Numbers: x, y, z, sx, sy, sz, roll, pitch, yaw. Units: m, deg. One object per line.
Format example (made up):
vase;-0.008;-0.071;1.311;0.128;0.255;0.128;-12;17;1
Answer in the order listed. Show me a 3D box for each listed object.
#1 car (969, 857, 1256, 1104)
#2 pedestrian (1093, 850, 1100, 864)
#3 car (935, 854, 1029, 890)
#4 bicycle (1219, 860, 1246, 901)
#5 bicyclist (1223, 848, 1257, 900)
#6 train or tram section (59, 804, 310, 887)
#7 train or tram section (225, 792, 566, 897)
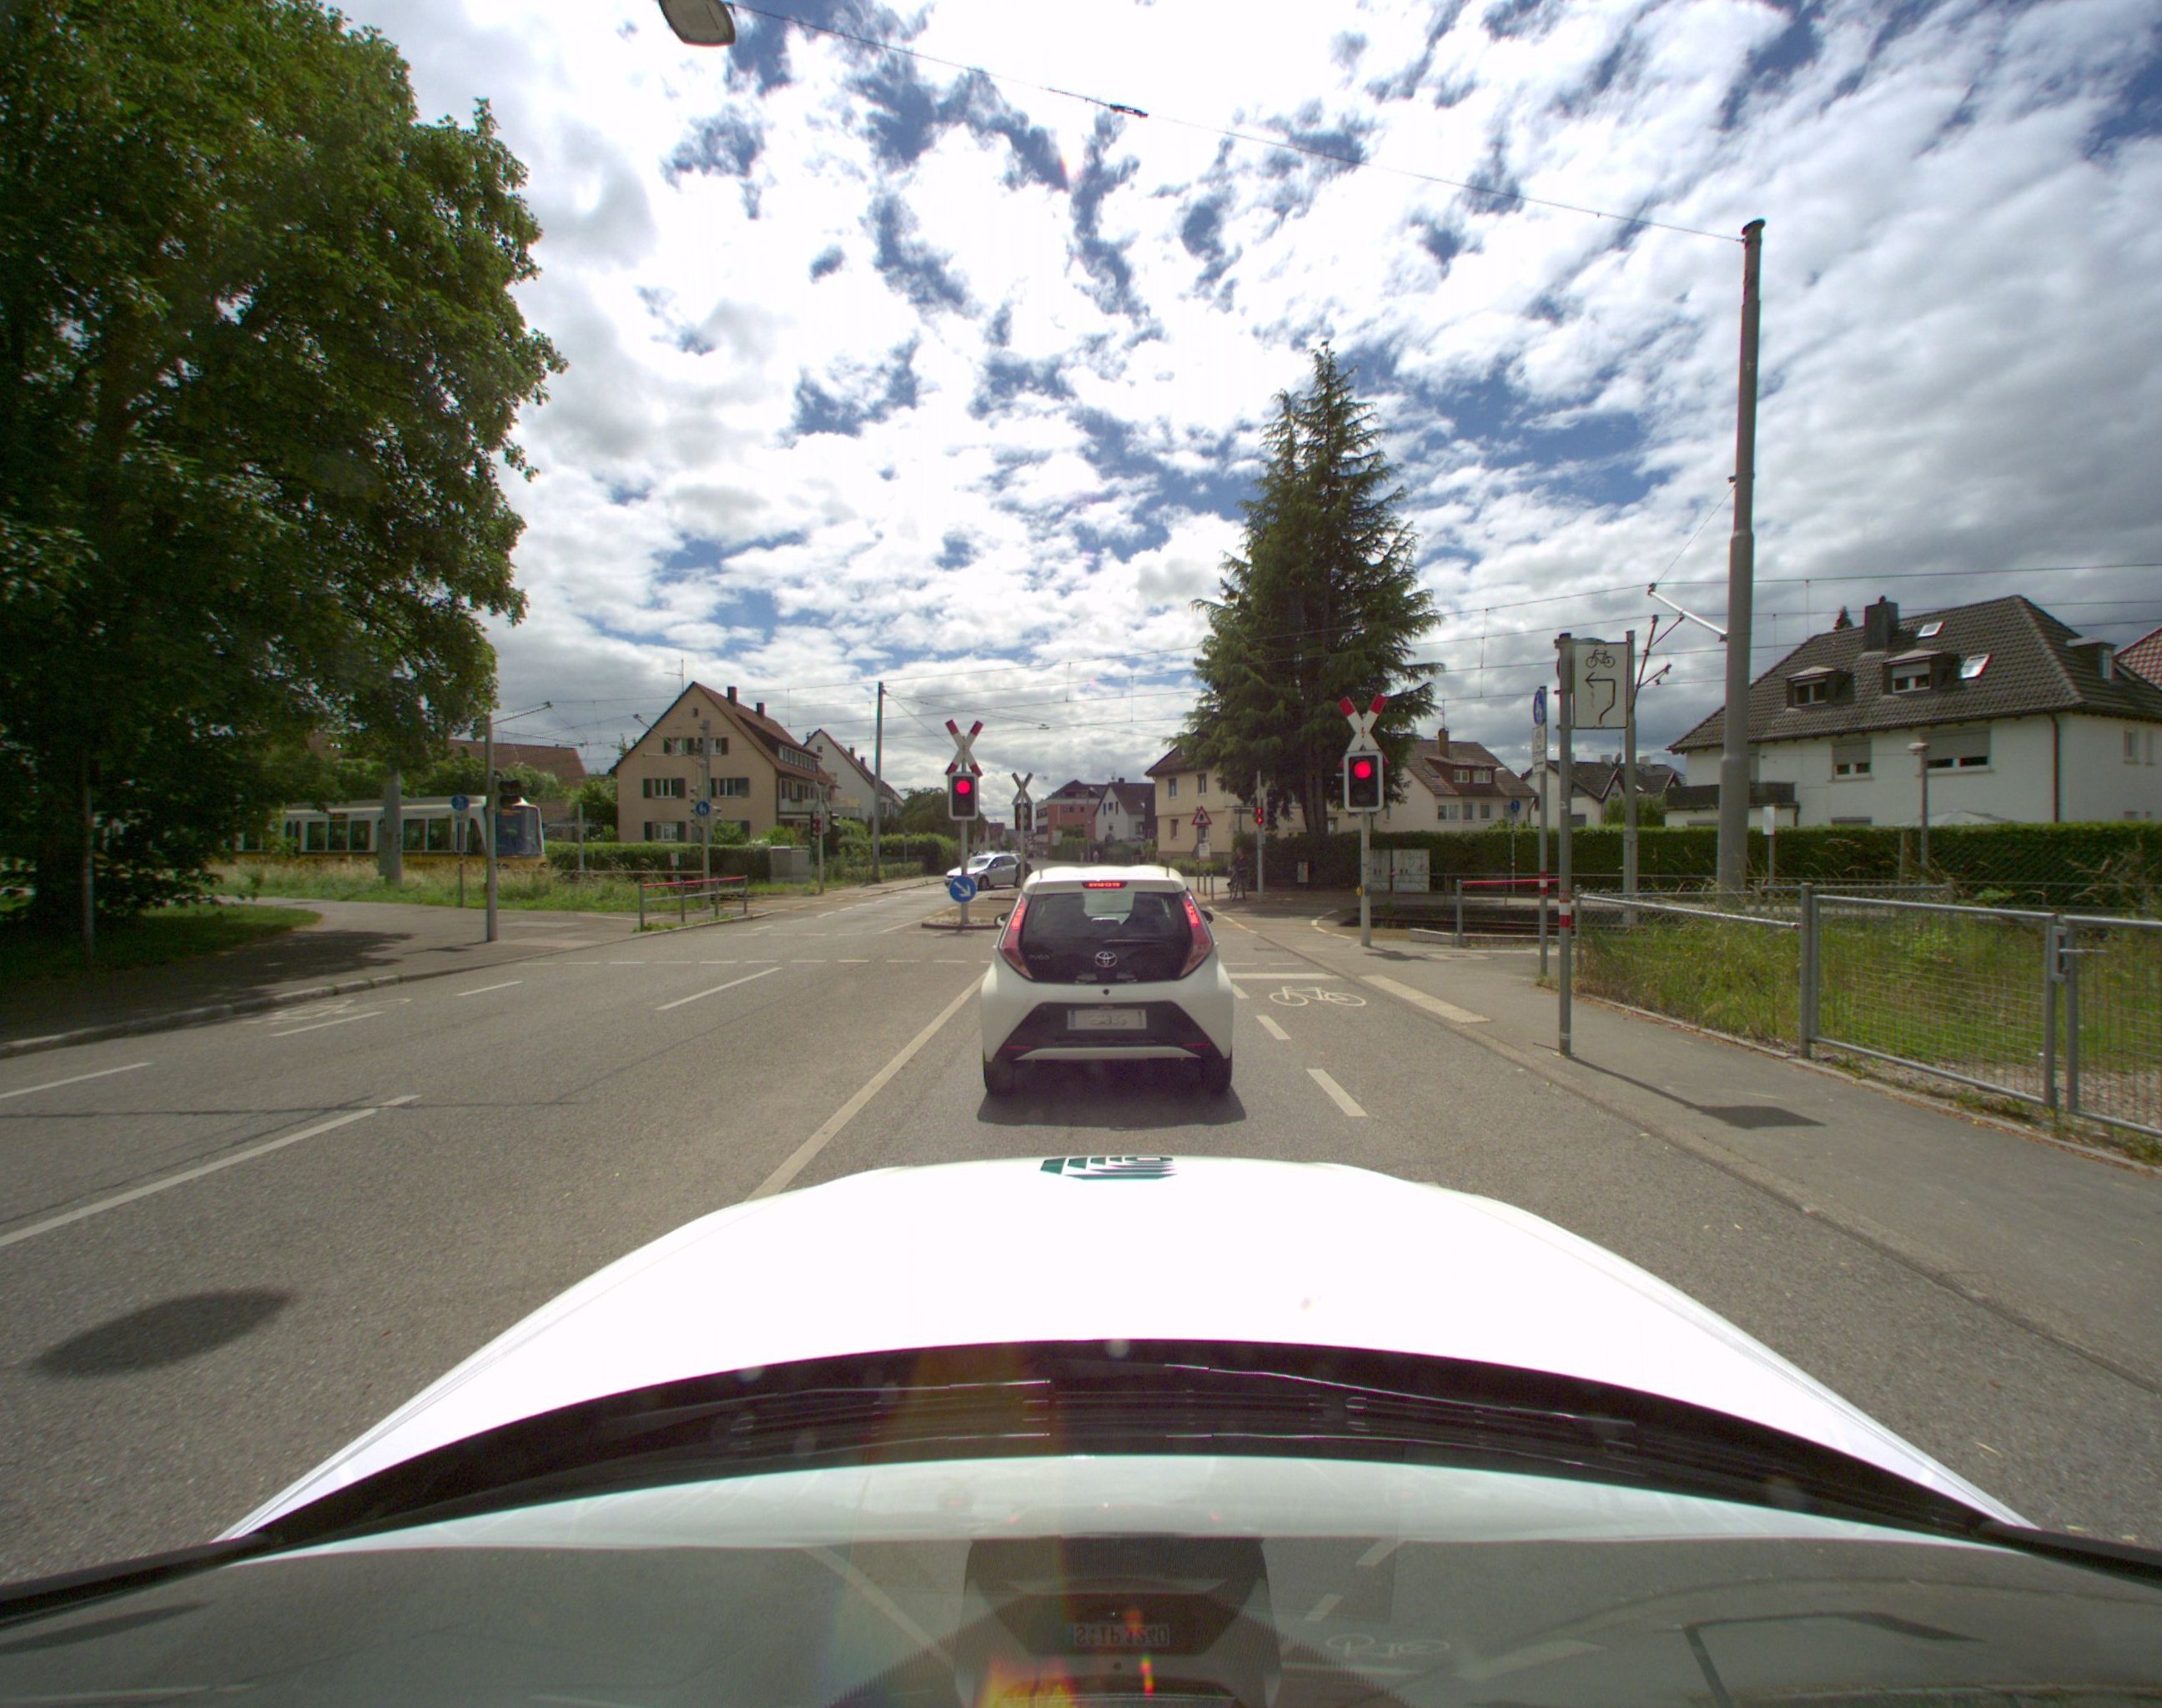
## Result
car;0.149;0.762;6.740;1.716;1.442;3.706;0;0;-2
pedestrian;1.787;0.315;93.769;0.723;1.576;0.804;0;0;2
car;-4.157;0.735;34.756;1.887;1.441;4.124;0;0;30
bicycle;4.858;0.832;26.177;0.456;1.172;1.477;-3;2;-4
bicyclist;5.099;0.625;26.153;0.839;1.553;0.755;-3;2;-4
train or tram section;-46.142;-0.431;41.558;18.885;3.704;2.936;0;1;24
train or tram section;-28.964;-0.382;33.770;18.885;3.704;2.936;0;1;24
